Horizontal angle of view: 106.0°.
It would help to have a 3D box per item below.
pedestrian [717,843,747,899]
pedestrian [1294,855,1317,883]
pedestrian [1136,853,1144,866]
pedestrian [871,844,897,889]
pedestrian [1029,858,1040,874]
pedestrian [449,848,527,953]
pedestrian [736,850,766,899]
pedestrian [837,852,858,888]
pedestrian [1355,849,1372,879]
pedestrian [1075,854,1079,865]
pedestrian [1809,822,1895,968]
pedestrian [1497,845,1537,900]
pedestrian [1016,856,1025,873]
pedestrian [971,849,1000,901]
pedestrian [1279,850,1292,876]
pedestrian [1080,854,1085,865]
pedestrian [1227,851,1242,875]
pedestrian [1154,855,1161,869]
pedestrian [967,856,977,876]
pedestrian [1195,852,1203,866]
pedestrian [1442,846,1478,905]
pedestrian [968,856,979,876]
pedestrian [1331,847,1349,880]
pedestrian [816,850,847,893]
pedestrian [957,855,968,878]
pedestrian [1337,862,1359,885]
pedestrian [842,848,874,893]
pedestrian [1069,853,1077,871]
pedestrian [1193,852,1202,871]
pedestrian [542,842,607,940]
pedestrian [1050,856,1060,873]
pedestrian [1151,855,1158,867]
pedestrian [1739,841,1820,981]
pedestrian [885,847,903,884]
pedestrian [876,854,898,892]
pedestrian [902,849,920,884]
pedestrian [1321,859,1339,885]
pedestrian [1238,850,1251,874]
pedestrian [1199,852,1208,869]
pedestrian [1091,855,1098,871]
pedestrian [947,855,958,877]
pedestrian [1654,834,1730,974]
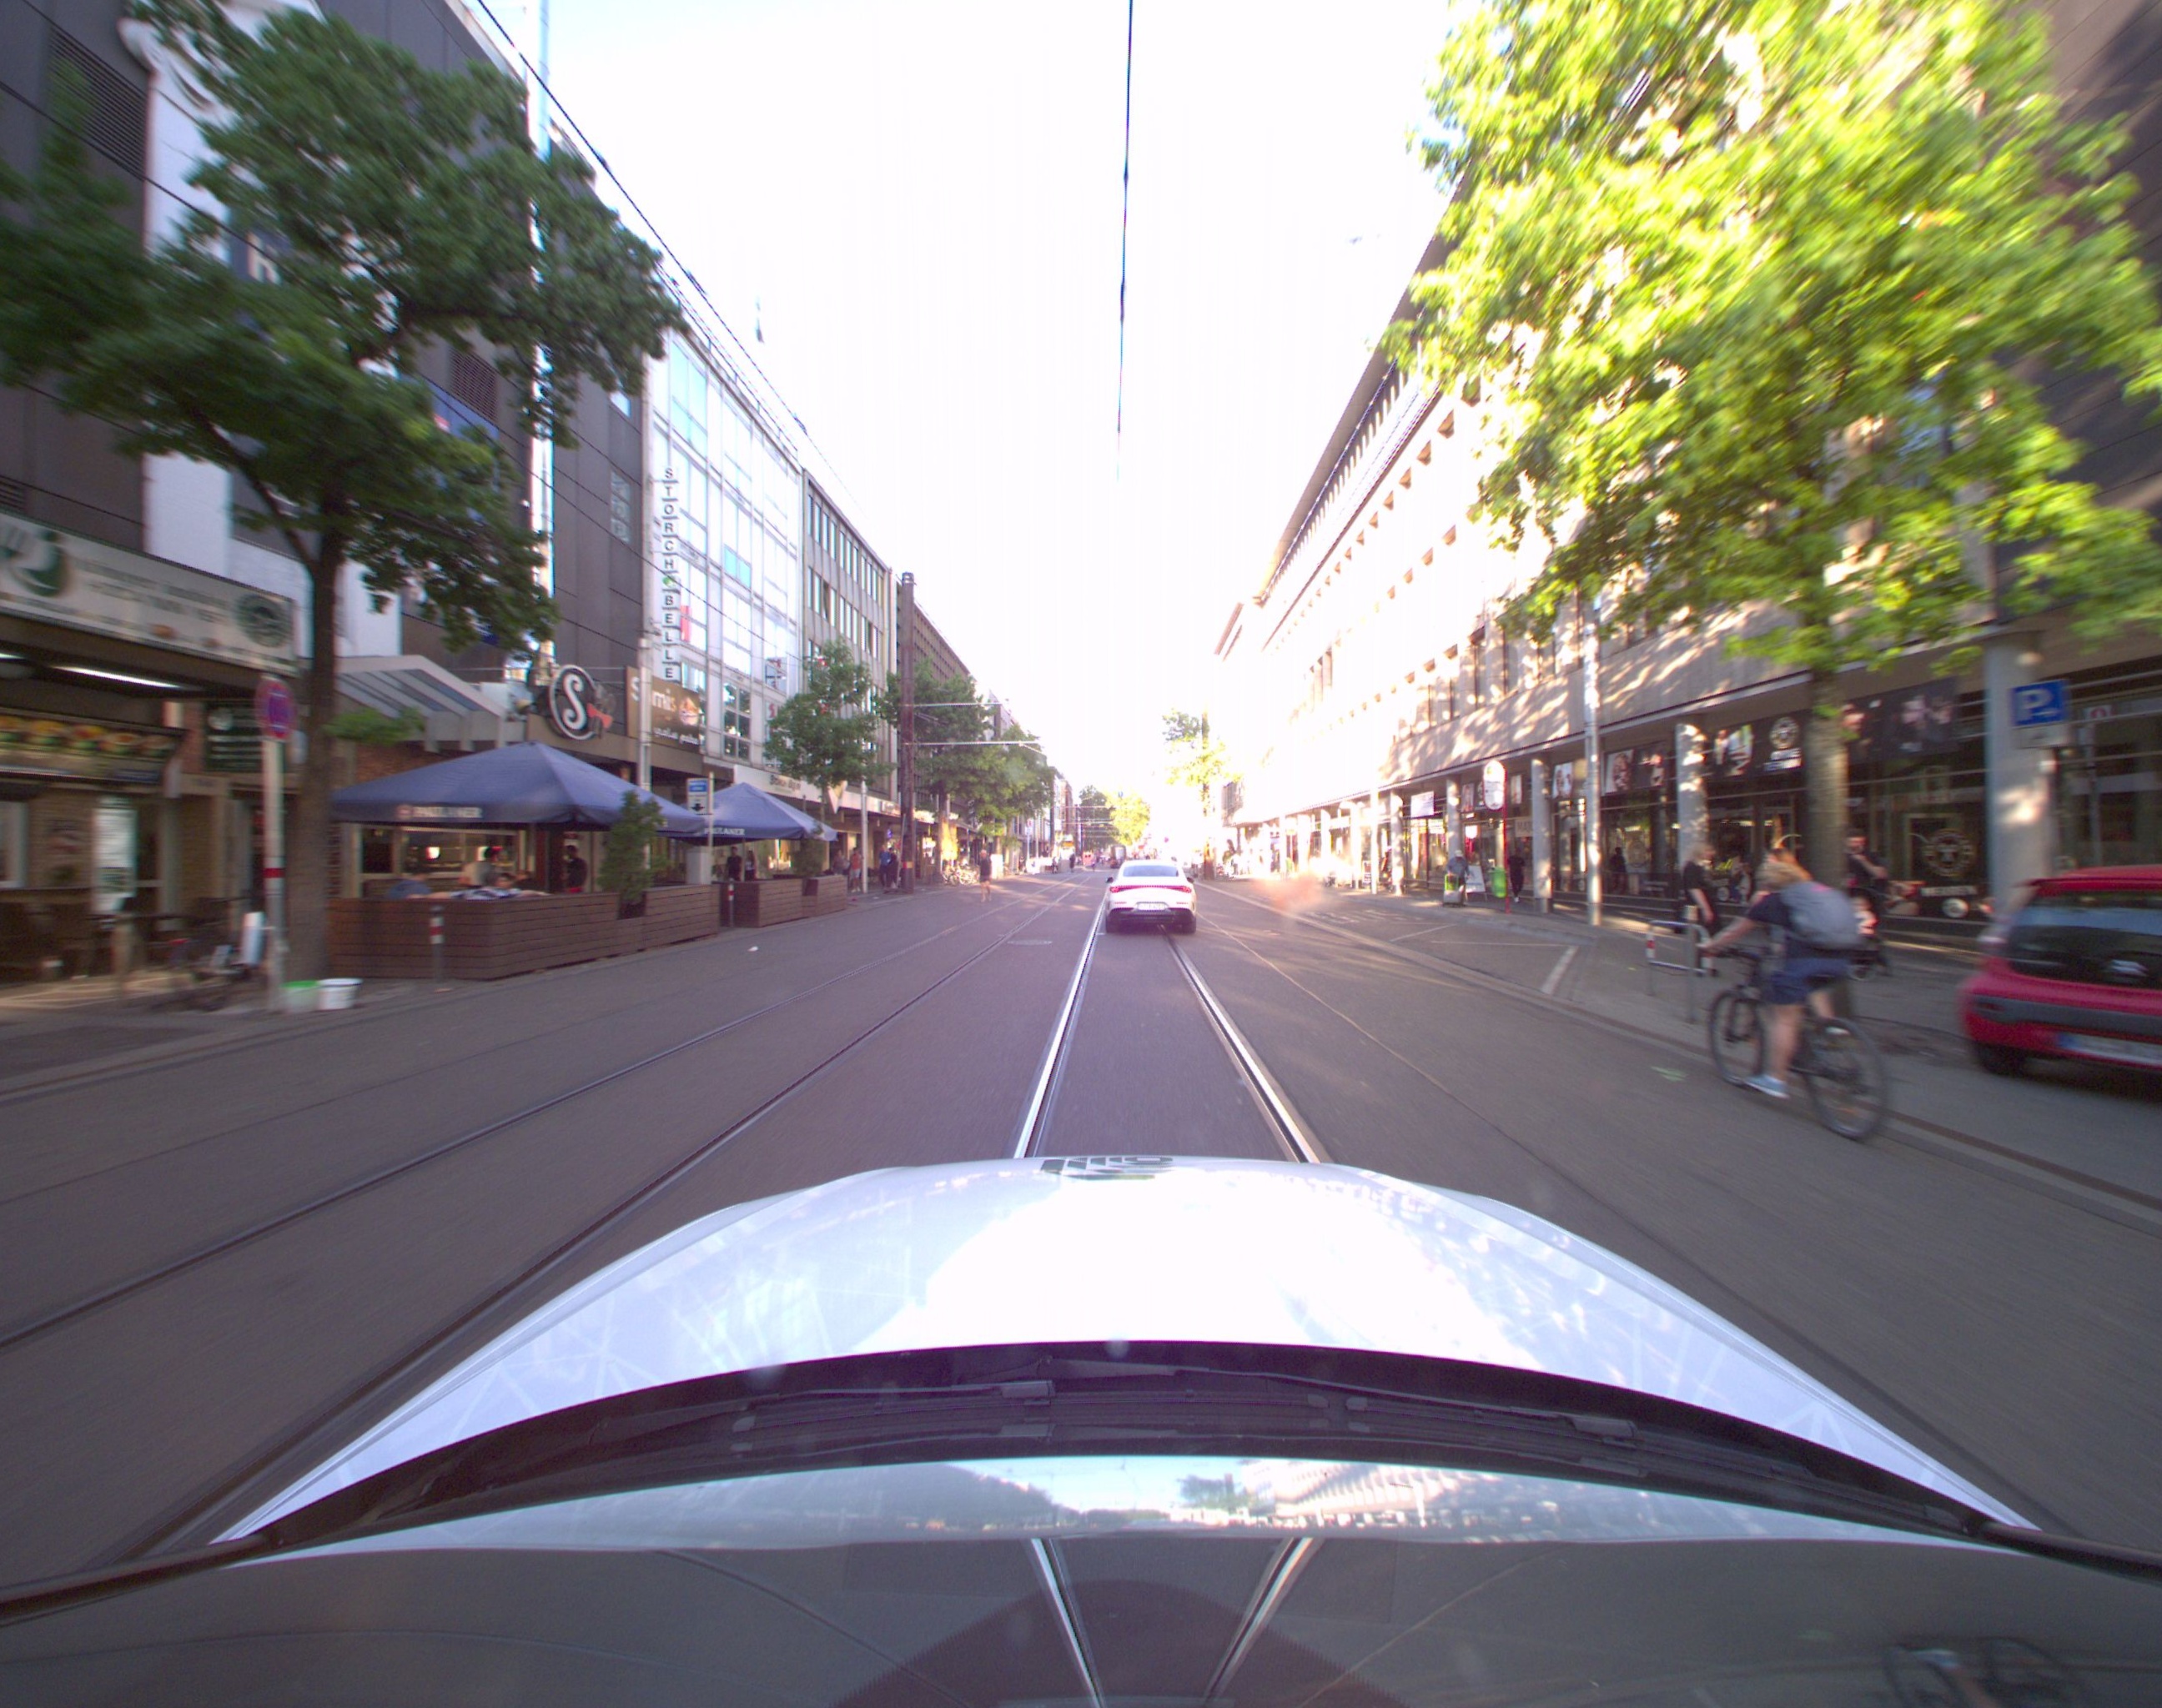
[{"bbox_3d":[-11.037,0.542,25.796,0.594,1.745,0.672,1,0,3],"label":"pedestrian"},{"bbox_3d":[11.450,0.758,41.557,0.836,1.377,0.772,0,0,-20],"label":"pedestrian"},{"bbox_3d":[8.062,0.747,110.875,0.957,1.785,0.804,-2,-1,2],"label":"pedestrian"},{"bbox_3d":[-8.492,0.533,35.199,0.798,1.923,1.071,2,0,-1],"label":"pedestrian"},{"bbox_3d":[-4.526,1.179,79.603,0.951,1.496,0.945,-1,0,3],"label":"pedestrian"},{"bbox_3d":[-9.376,0.712,12.898,0.670,1.607,0.720,0,0,2],"label":"pedestrian"},{"bbox_3d":[-10.448,0.645,25.790,0.594,1.533,0.672,1,0,3],"label":"pedestrian"},{"bbox_3d":[-10.274,0.700,35.824,0.619,1.526,0.810,2,0,3],"label":"pedestrian"},{"bbox_3d":[14.504,0.523,41.839,0.640,1.542,0.797,0,0,3],"label":"pedestrian"},{"bbox_3d":[-0.577,0.850,122.159,0.657,1.599,0.573,-1,0,1],"label":"pedestrian"},{"bbox_3d":[9.544,0.487,10.088,0.681,1.731,0.636,-3,-1,44],"label":"pedestrian"},{"bbox_3d":[12.842,0.525,24.024,0.693,1.589,0.926,0,0,3],"label":"pedestrian"},{"bbox_3d":[-6.191,1.022,83.148,0.835,1.717,0.785,-1,0,1],"label":"pedestrian"},{"bbox_3d":[-3.347,0.721,28.579,0.838,1.801,0.791,1,0,3],"label":"pedestrian"},{"bbox_3d":[12.845,0.574,51.179,0.634,1.653,0.781,0,0,3],"label":"pedestrian"},{"bbox_3d":[0.187,0.846,122.219,0.657,1.599,0.573,-1,0,1],"label":"pedestrian"},{"bbox_3d":[11.969,0.708,63.491,0.896,1.744,0.690,-4,-1,2],"label":"pedestrian"},{"bbox_3d":[8.981,0.934,96.111,0.744,1.698,0.840,-1,0,0],"label":"pedestrian"},{"bbox_3d":[-9.950,1.065,74.204,0.813,1.762,0.780,-1,0,0],"label":"pedestrian"},{"bbox_3d":[14.237,0.574,98.516,0.814,1.685,0.804,-2,-1,2],"label":"pedestrian"},{"bbox_3d":[10.308,0.584,22.149,0.678,1.572,0.632,1,0,3],"label":"pedestrian"},{"bbox_3d":[-9.370,1.019,70.985,0.728,1.762,0.810,0,-1,-32],"label":"pedestrian"},{"bbox_3d":[13.853,0.527,43.524,0.712,1.741,0.836,0,0,3],"label":"pedestrian"},{"bbox_3d":[-9.778,0.671,31.899,0.841,1.638,0.766,1,0,22],"label":"pedestrian"},{"bbox_3d":[-8.503,0.907,58.484,0.712,1.640,0.684,-1,-1,-4],"label":"pedestrian"},{"bbox_3d":[12.030,0.873,36.653,0.831,1.031,0.697,0,0,7],"label":"pedestrian"},{"bbox_3d":[-8.843,0.652,32.330,0.842,1.741,0.839,1,0,22],"label":"pedestrian"},{"bbox_3d":[-0.863,0.850,85.180,0.576,1.929,0.534,0,-1,-44],"label":"pedestrian"},{"bbox_3d":[11.299,0.704,79.242,0.745,1.785,0.767,-2,-1,2],"label":"pedestrian"},{"bbox_3d":[-9.111,0.647,14.677,0.715,1.724,0.675,0,0,1],"label":"pedestrian"},{"bbox_3d":[-2.566,1.014,79.509,0.901,1.698,0.849,-1,0,3],"label":"pedestrian"},{"bbox_3d":[10.655,0.998,118.171,0.957,1.785,0.804,-2,-1,2],"label":"pedestrian"},{"bbox_3d":[8.214,0.645,9.574,0.693,1.552,0.600,-2,-1,-44],"label":"pedestrian"},{"bbox_3d":[-9.477,0.579,41.251,0.619,1.804,0.934,2,0,3],"label":"pedestrian"},{"bbox_3d":[-7.930,0.763,33.258,0.619,1.509,0.834,2,0,3],"label":"pedestrian"},{"bbox_3d":[-8.586,0.638,41.231,0.619,1.747,0.934,2,0,3],"label":"pedestrian"},{"bbox_3d":[11.652,0.847,38.087,0.663,1.198,0.786,0,0,7],"label":"pedestrian"},{"bbox_3d":[12.715,0.628,63.468,0.698,1.812,1.034,-4,-1,2],"label":"pedestrian"},{"bbox_3d":[13.041,0.697,86.833,0.837,1.785,0.804,-2,-1,2],"label":"pedestrian"},{"bbox_3d":[1.490,0.981,90.624,0.797,1.782,0.849,1,0,1],"label":"pedestrian"},{"bbox_3d":[-9.203,0.837,58.452,0.712,1.547,0.684,-1,0,-4],"label":"pedestrian"},{"bbox_3d":[7.714,0.610,10.303,0.672,1.685,0.700,-3,-1,36],"label":"pedestrian"}]
